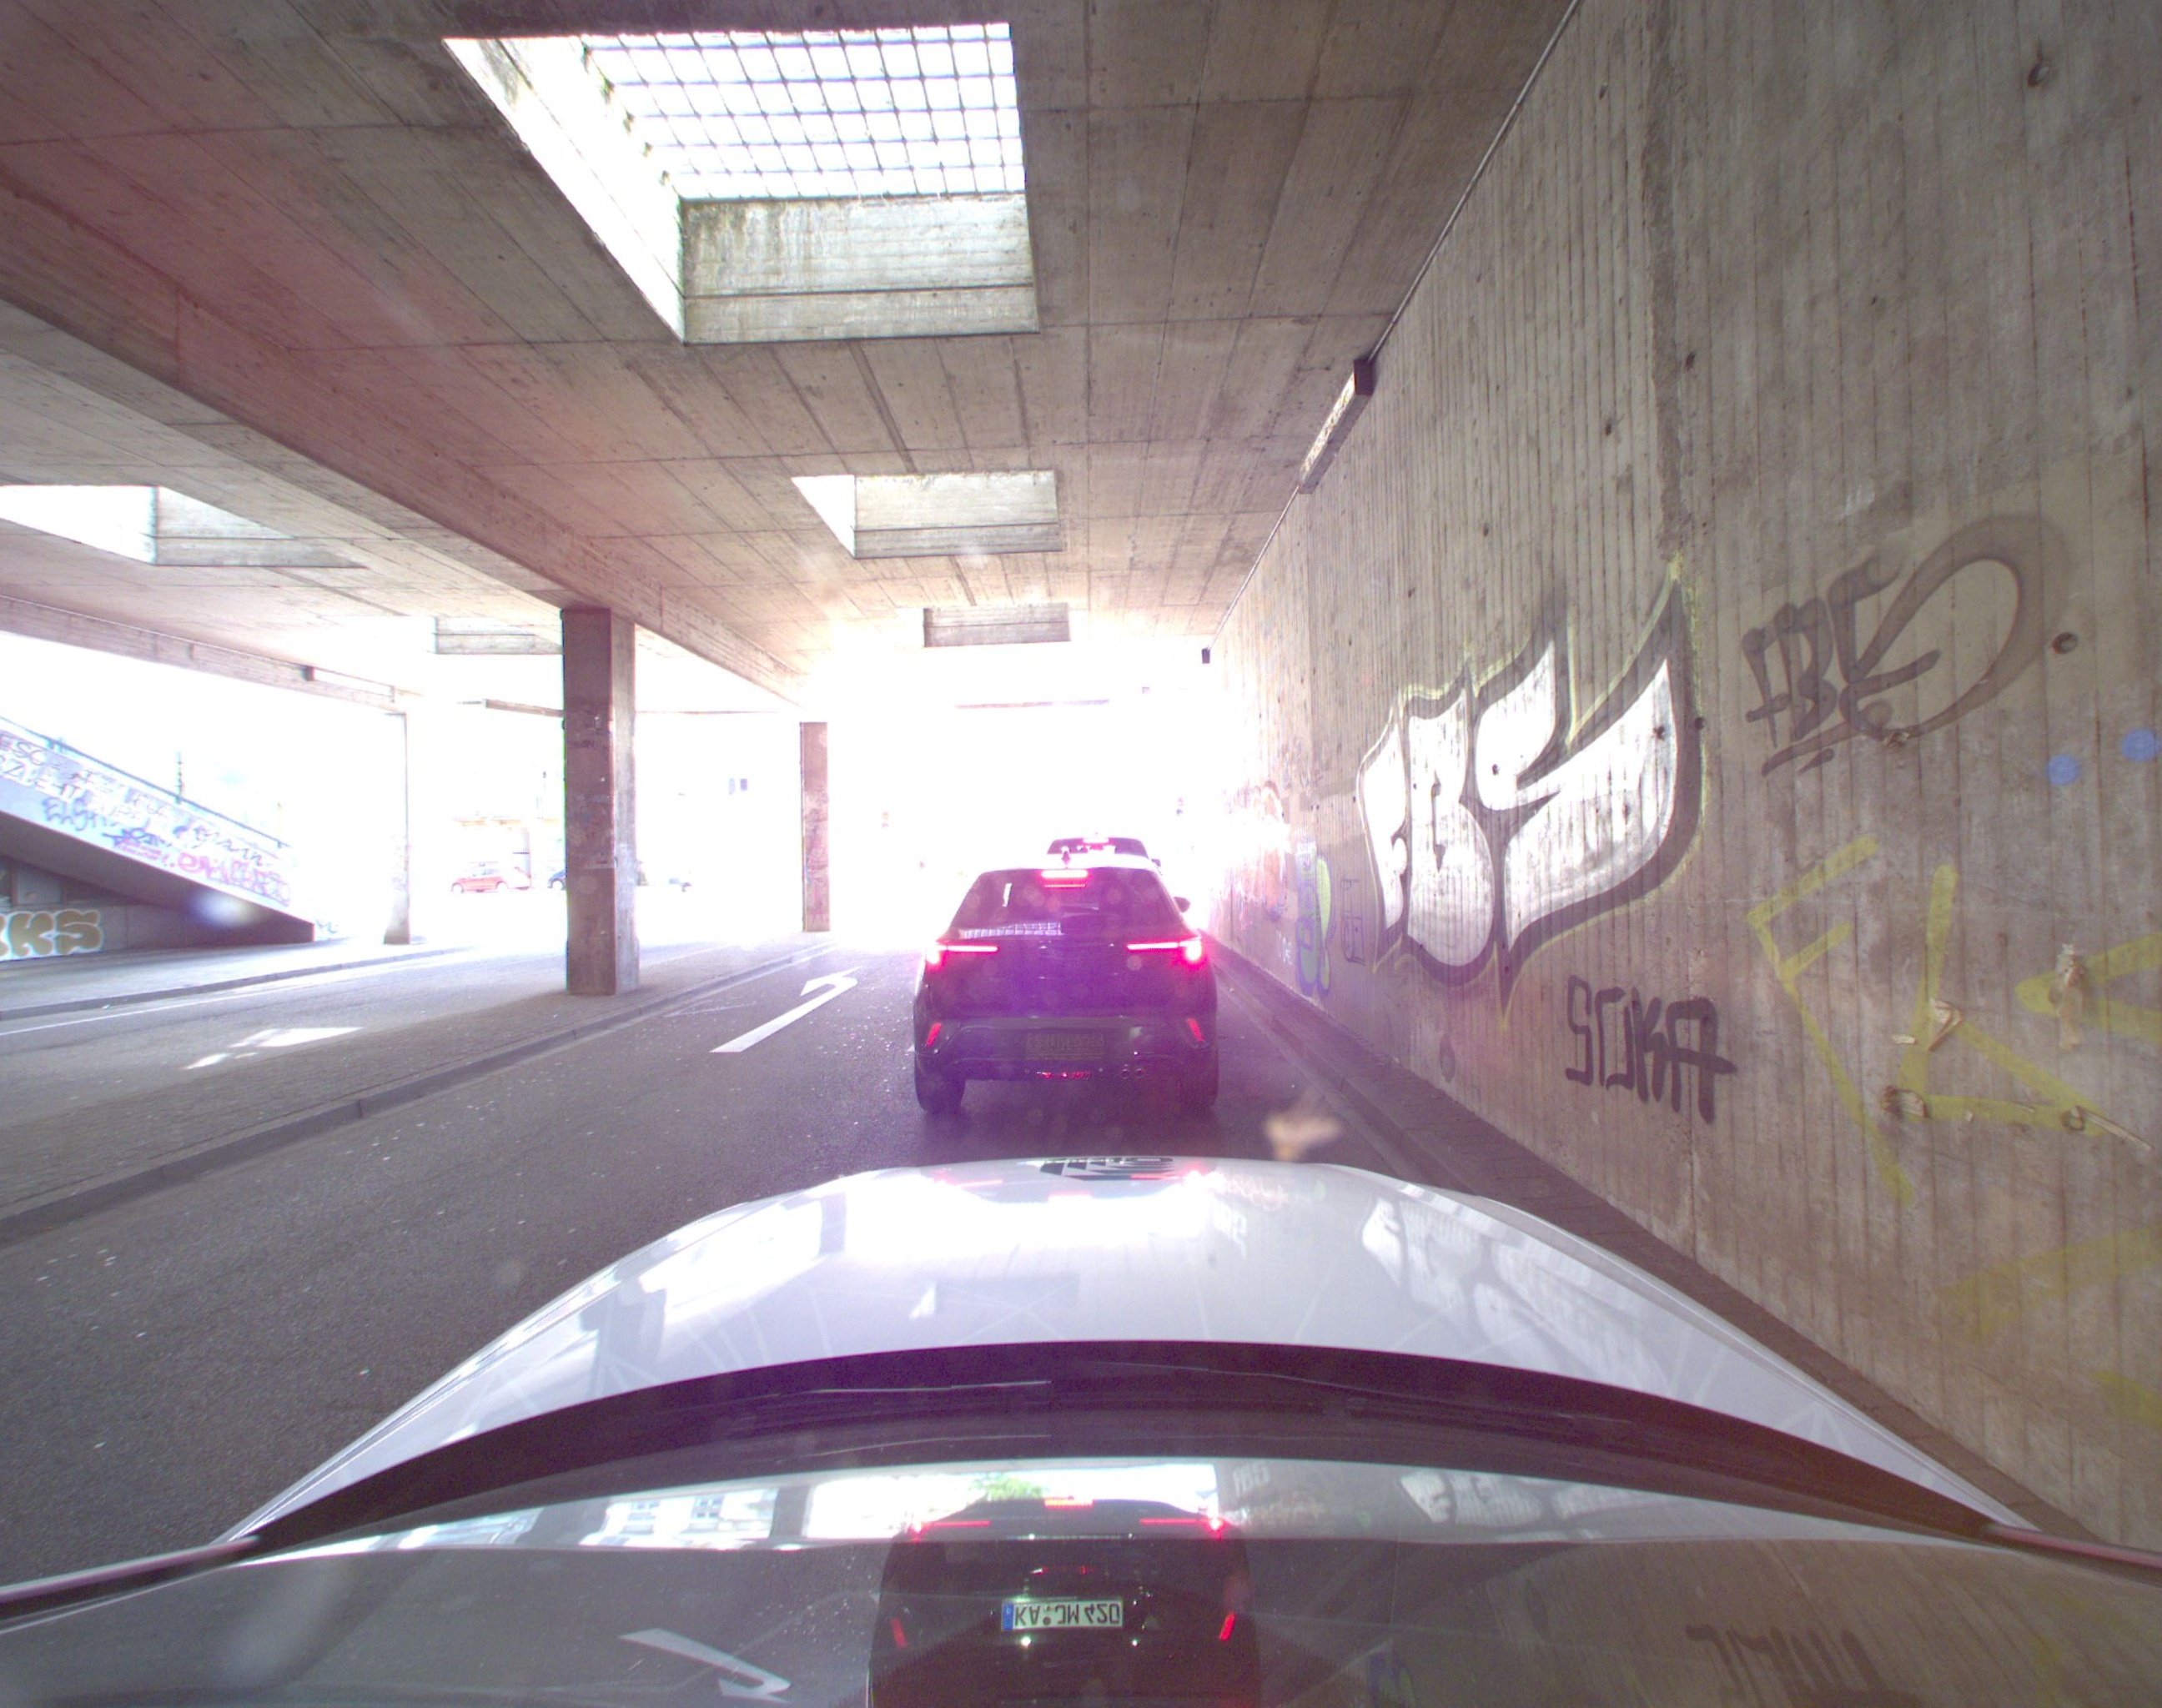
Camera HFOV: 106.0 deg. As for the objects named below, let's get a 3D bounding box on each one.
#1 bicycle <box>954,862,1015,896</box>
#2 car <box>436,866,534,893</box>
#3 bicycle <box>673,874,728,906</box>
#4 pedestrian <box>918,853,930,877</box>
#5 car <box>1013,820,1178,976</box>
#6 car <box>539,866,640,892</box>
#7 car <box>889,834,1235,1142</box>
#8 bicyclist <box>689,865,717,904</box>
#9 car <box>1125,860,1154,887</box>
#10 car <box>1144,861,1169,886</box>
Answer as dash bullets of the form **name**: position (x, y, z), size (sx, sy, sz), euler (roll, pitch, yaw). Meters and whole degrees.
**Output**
- **bicycle**: position (-3.273, 0.834, 27.759), size (1.903, 1.118, 0.954), euler (0, -1, 4)
- **car**: position (-33.113, 1.418, 45.295), size (3.975, 1.409, 1.925), euler (0, -1, -1)
- **bicycle**: position (-13.398, 1.269, 28.718), size (1.732, 1.118, 0.477), euler (0, -1, 4)
- **pedestrian**: position (-11.015, 0.760, 57.203), size (0.669, 1.637, 0.741), euler (0, -1, 1)
- **car**: position (0.238, 0.540, 12.043), size (1.986, 1.871, 4.002), euler (-2, 0, 2)
- **car**: position (-27.326, 1.378, 45.359), size (4.393, 1.409, 1.925), euler (0, -1, -1)
- **car**: position (-0.033, 0.653, 6.167), size (1.758, 1.571, 4.002), euler (0, 1, 2)
- **bicyclist**: position (-13.320, 1.070, 28.703), size (0.742, 1.376, 0.453), euler (0, -1, 4)
- **car**: position (4.513, 1.439, 62.344), size (1.983, 1.970, 4.172), euler (0, -1, 7)
- **car**: position (6.388, 1.614, 68.362), size (1.983, 1.970, 4.172), euler (0, -1, 7)
